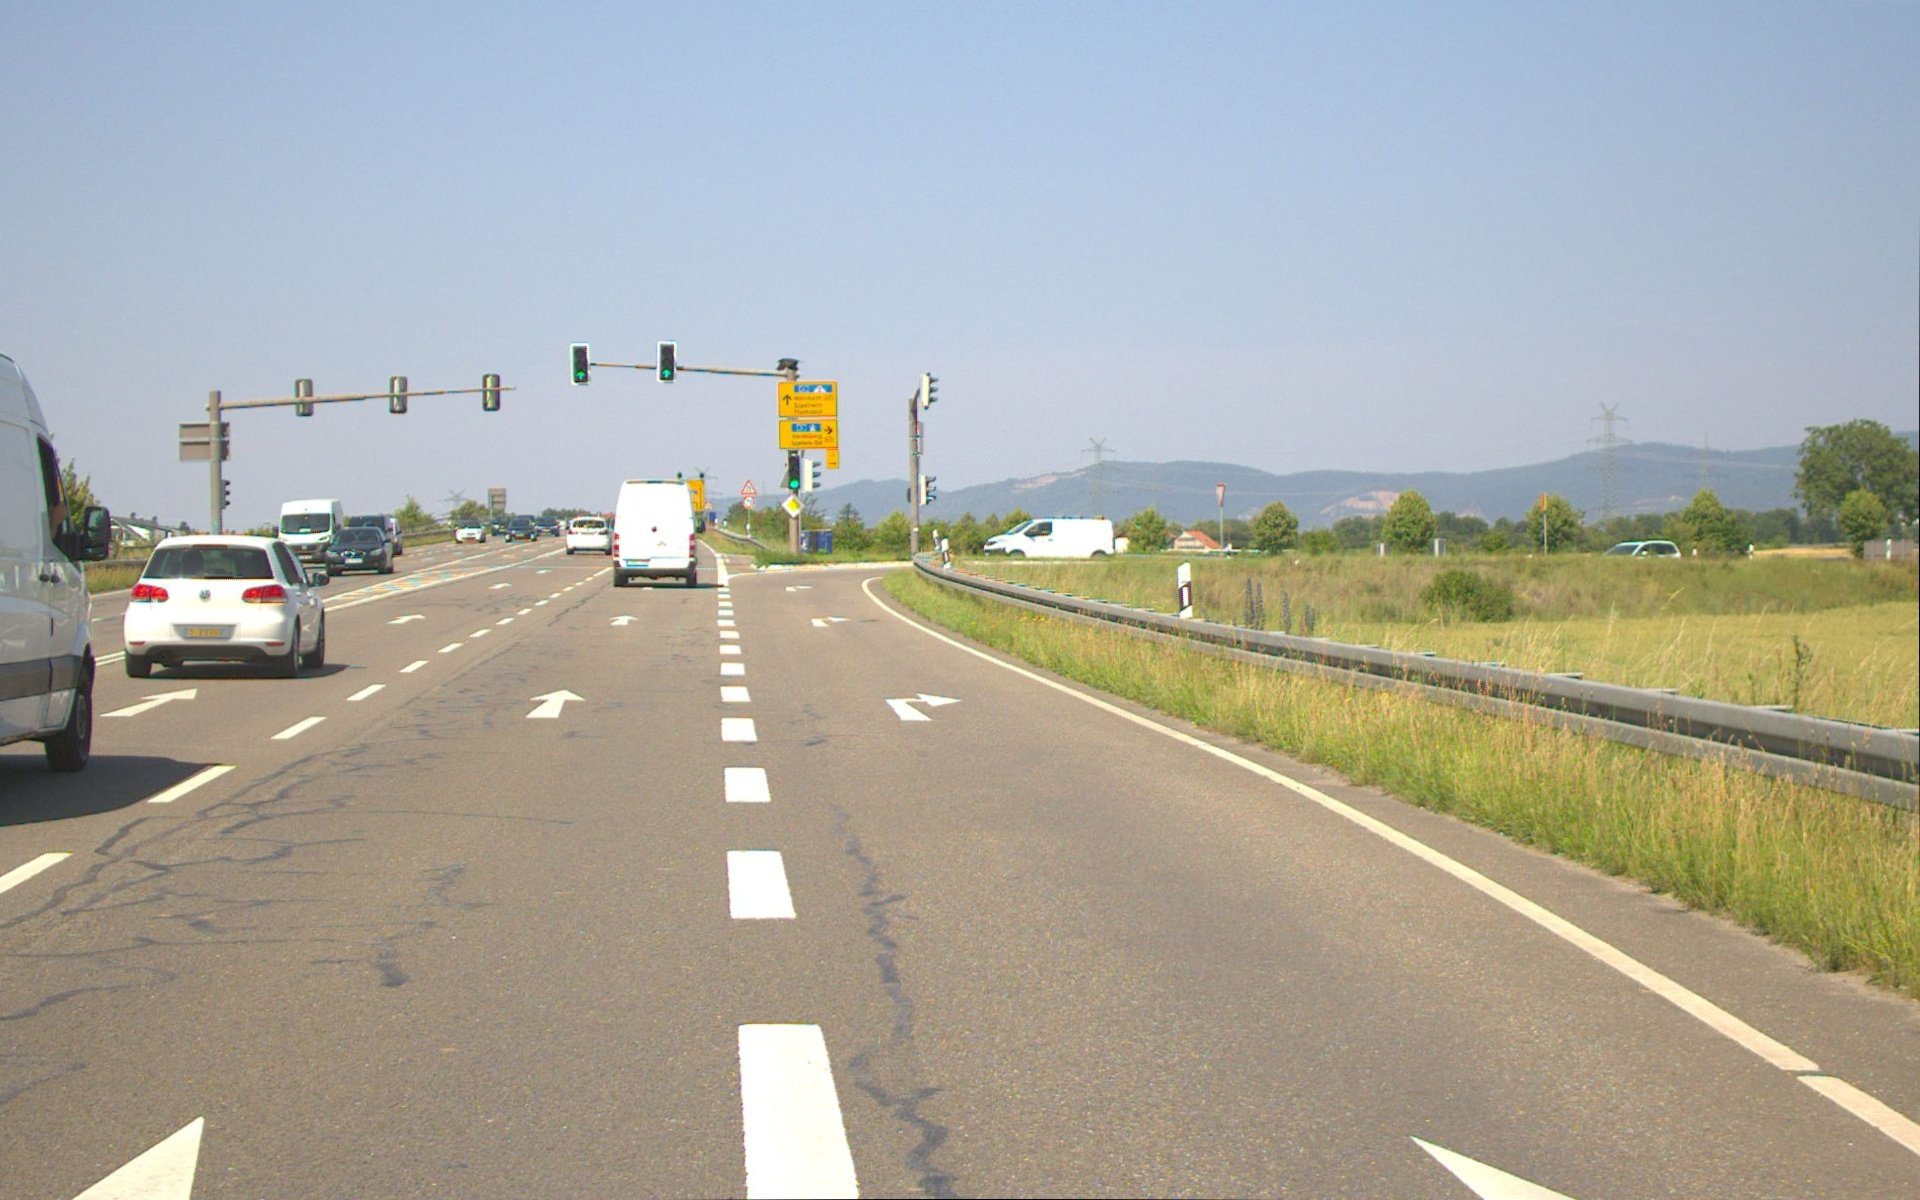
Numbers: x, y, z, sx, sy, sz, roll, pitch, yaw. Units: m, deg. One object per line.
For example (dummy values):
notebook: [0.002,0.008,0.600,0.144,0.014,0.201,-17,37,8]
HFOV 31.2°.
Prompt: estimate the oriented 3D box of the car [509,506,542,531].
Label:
car: [-27.409,-5.149,216.864,1.635,1.481,4.000,1,0,-1]

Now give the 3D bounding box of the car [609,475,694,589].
car: [-7.476,-1.657,83.659,1.993,2.686,4.970,0,1,-4]

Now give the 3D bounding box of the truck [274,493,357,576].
truck: [-23.530,-2.367,125.720,2.296,2.947,5.283,0,0,-3]

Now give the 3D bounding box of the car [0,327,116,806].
car: [-6.309,-0.194,19.404,2.039,2.611,5.742,-1,1,-4]

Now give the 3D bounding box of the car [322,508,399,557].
car: [-18.441,-2.071,105.841,1.857,1.418,4.000,0,0,-3]

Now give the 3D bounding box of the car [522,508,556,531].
car: [-30.712,-5.854,250.605,1.993,1.612,4.000,1,0,0]

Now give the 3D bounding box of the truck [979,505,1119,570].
truck: [3.350,-2.327,129.476,4.842,2.312,2.001,1,0,-18]

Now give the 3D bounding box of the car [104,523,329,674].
car: [-7.849,-0.059,36.641,1.799,1.503,4.197,0,1,-5]

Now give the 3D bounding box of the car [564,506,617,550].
car: [-15.205,-2.933,141.534,1.993,1.697,4.276,1,0,-4]

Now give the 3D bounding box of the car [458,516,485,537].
car: [-31.395,-4.726,220.924,1.462,1.269,3.333,0,0,-3]
